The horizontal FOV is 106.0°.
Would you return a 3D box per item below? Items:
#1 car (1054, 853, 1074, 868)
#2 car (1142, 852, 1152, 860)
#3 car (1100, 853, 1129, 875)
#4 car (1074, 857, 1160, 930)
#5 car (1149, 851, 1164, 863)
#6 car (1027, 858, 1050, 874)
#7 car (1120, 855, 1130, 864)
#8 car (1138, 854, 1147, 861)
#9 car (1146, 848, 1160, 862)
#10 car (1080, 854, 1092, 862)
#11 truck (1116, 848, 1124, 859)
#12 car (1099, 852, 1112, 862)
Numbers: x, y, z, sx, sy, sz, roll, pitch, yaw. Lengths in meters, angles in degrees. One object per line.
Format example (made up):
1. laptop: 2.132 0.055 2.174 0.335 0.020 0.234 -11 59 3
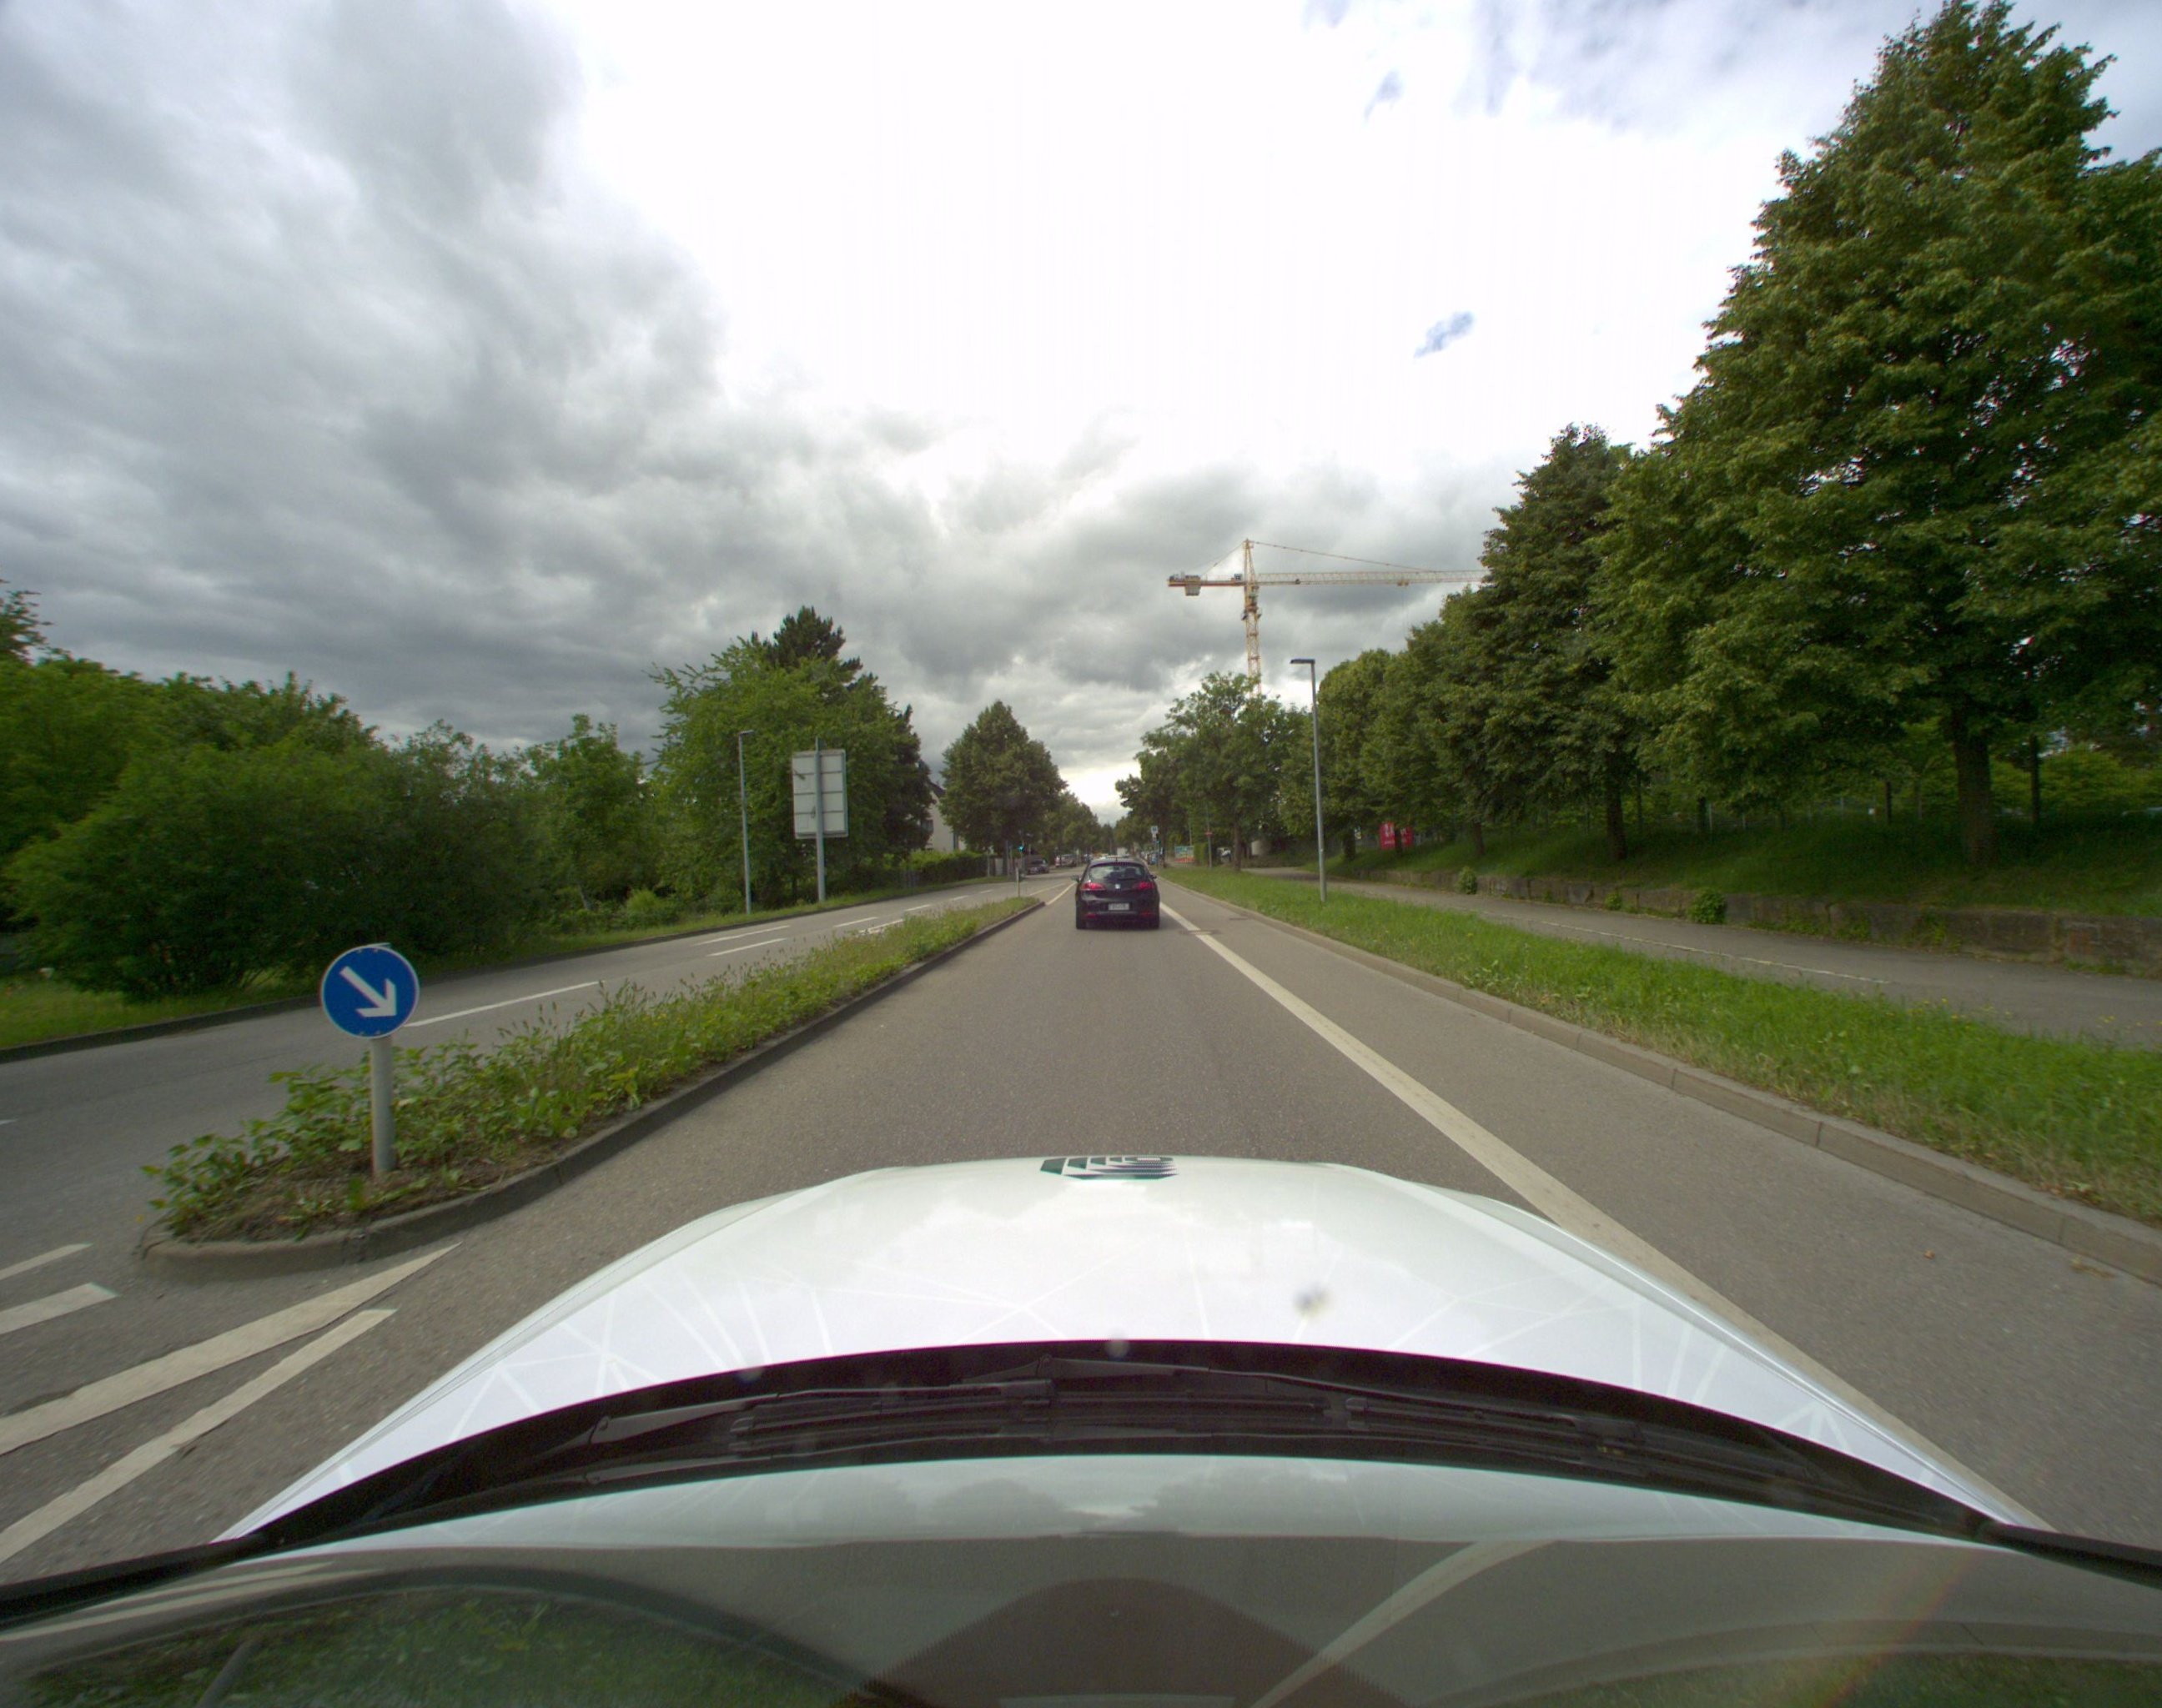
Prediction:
1. car: -2.309 0.840 111.348 2.091 1.896 5.788 -4 0 3
2. car: 12.463 0.352 153.882 1.681 1.564 4.217 -3 0 3
3. car: 2.440 0.683 58.614 1.837 1.510 3.817 -1 0 5
4. car: 0.765 0.781 17.773 1.656 1.401 3.813 -1 0 2
5. car: 9.769 0.342 105.489 1.681 1.490 3.357 -3 0 3
6. car: -4.260 1.165 82.307 1.711 1.395 4.805 -4 0 3
7. car: 8.763 1.157 162.099 1.873 1.689 4.217 -3 0 3
8. car: 13.420 0.772 178.287 1.681 1.564 4.217 -5 0 3
9. car: 9.797 0.152 110.659 1.681 1.711 4.217 -3 0 3
10. car: 0.996 0.858 168.743 2.091 1.506 5.788 -4 0 3
11. truck: 11.356 -0.252 235.926 2.270 3.104 8.516 -1 0 3
12. car: 4.364 0.524 143.518 1.866 1.635 4.346 -4 0 5
